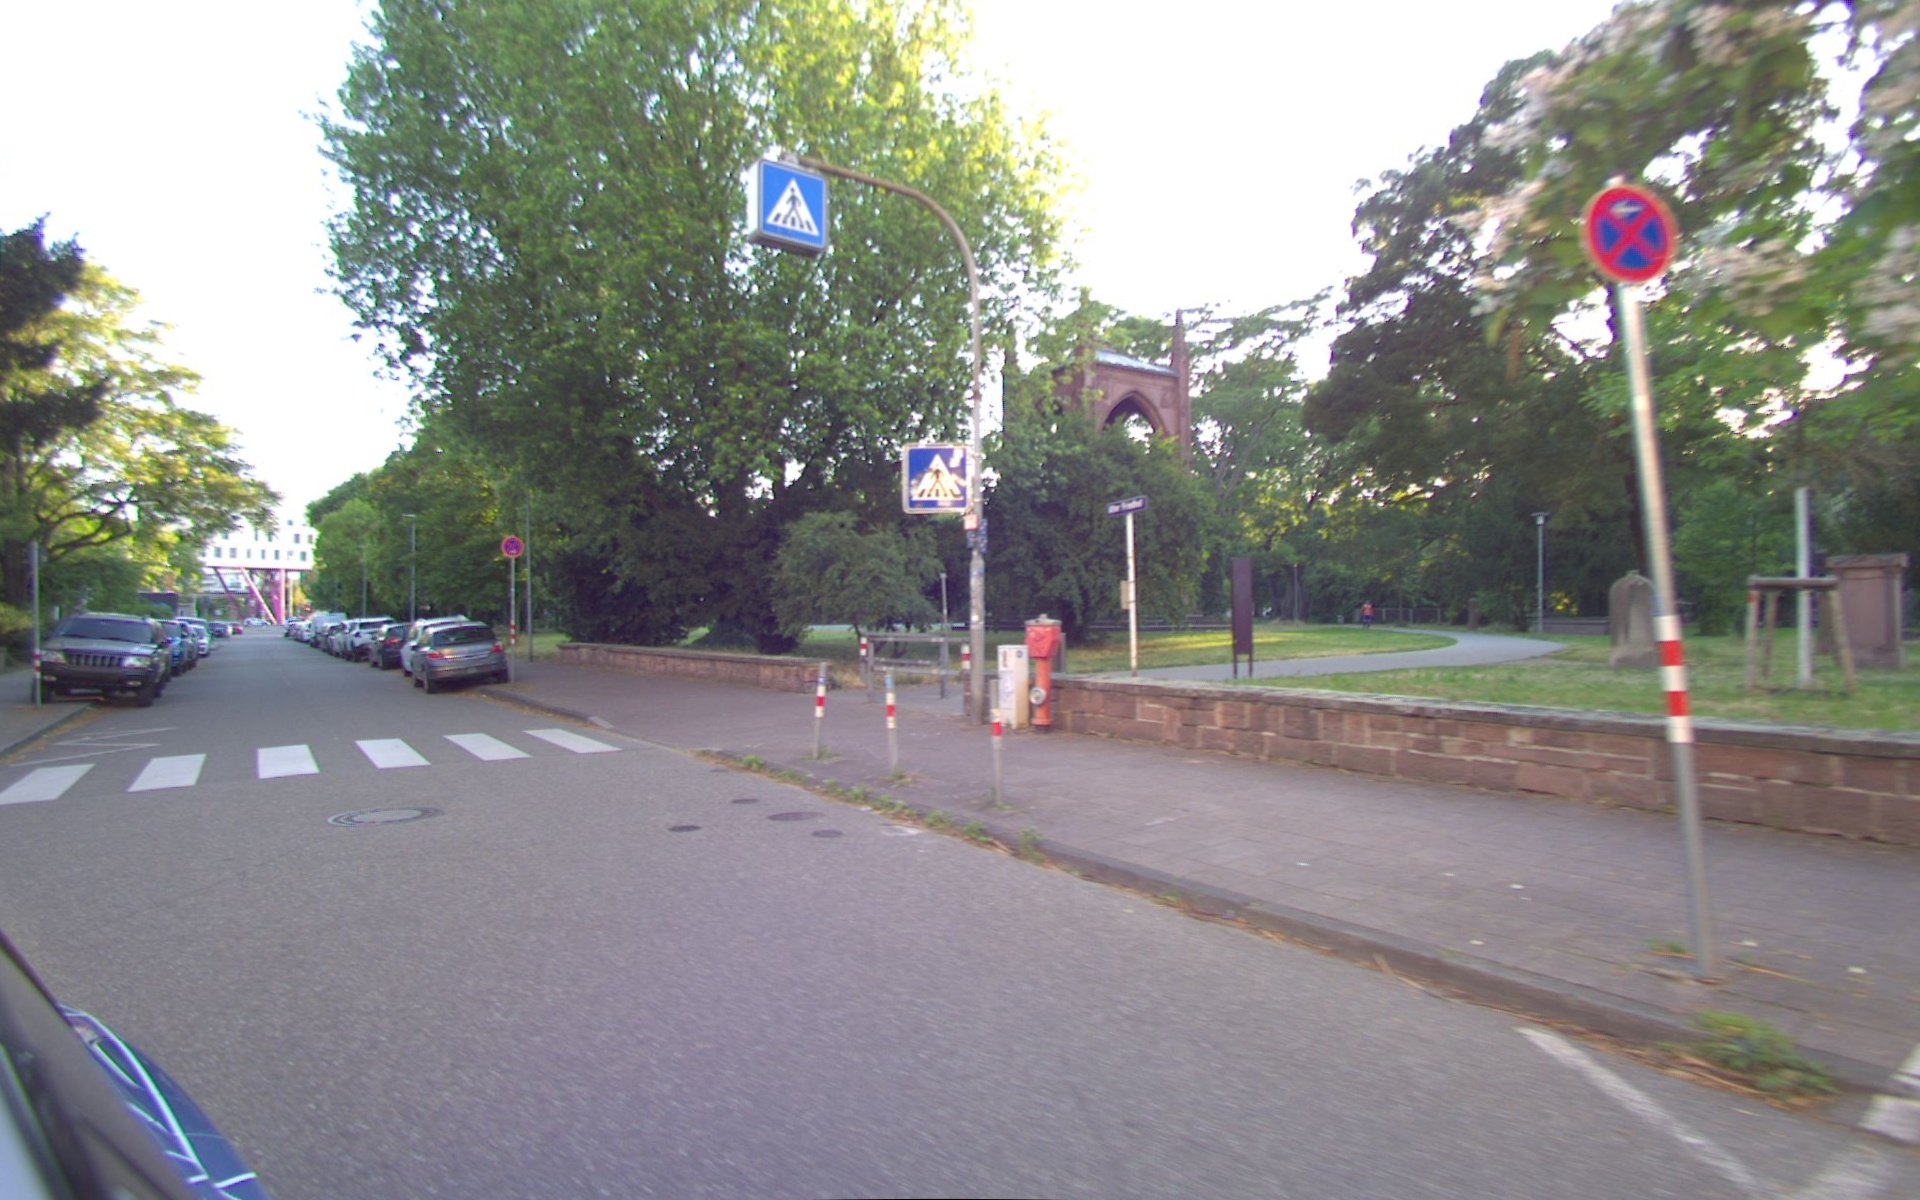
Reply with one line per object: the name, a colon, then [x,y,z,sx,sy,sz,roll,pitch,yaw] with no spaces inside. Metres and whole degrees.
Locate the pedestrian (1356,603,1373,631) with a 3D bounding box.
pedestrian: [24.566,1.013,61.416,0.656,1.681,0.668,0,-1,-17]

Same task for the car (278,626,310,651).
car: [-54.437,3.153,82.706,1.759,1.808,3.892,-6,2,-38]

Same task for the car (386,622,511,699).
car: [-11.939,1.351,23.514,1.759,1.461,3.892,-6,2,-38]

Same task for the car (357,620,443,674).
car: [-18.398,1.516,33.171,1.759,1.487,3.892,-6,2,-38]

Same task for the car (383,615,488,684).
car: [-14.435,1.328,27.775,1.759,1.589,3.892,-6,2,-38]

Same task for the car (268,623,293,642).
car: [-70.451,3.393,104.896,1.759,1.796,4.020,-6,2,-38]

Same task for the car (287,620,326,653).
car: [-45.322,2.507,70.182,1.759,2.051,3.892,-6,2,-38]

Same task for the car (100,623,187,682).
car: [-23.549,1.508,29.278,1.758,1.511,3.892,6,-5,-38]

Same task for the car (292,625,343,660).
car: [-33.717,2.219,53.076,1.759,1.583,3.892,-6,2,-38]

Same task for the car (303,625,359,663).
car: [-30.256,2.091,48.648,1.759,1.583,3.892,-6,2,-38]

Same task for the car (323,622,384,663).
car: [-26.985,1.877,44.978,1.759,1.583,3.892,-6,2,-38]

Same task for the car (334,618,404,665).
car: [-23.365,1.624,39.948,1.759,1.583,3.892,-6,2,-38]

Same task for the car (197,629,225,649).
car: [-68.584,3.561,92.696,1.968,1.763,4.008,-1,-1,-38]

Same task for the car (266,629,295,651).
car: [-60.820,3.563,90.580,1.759,1.796,4.020,-6,2,-38]

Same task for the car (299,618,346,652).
car: [-38.810,2.110,61.572,1.935,1.850,3.892,-6,2,-38]

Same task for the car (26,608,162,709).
car: [-16.812,1.116,19.813,1.758,1.767,3.892,4,-4,-38]

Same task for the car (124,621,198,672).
car: [-26.632,1.551,33.781,1.758,1.511,3.892,6,-5,-38]
